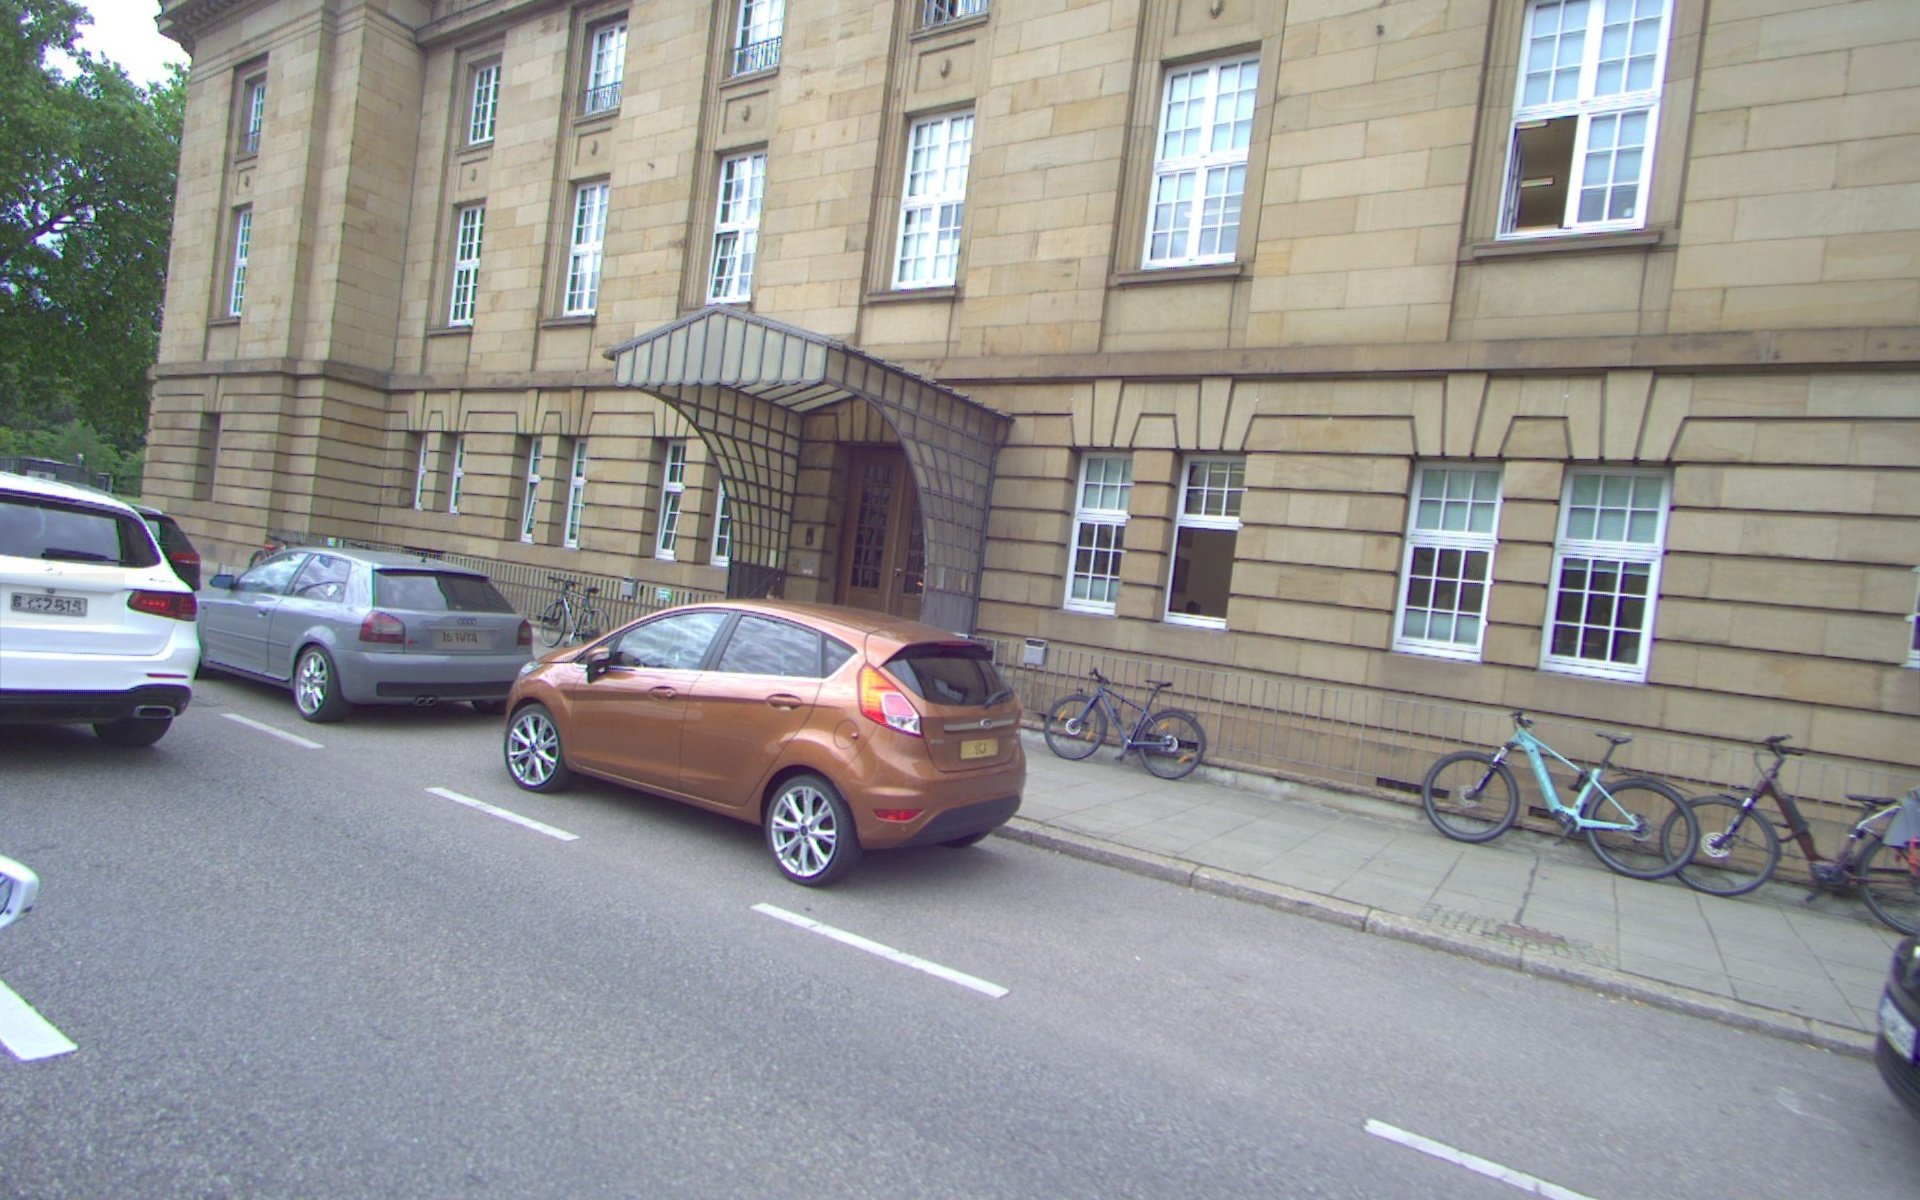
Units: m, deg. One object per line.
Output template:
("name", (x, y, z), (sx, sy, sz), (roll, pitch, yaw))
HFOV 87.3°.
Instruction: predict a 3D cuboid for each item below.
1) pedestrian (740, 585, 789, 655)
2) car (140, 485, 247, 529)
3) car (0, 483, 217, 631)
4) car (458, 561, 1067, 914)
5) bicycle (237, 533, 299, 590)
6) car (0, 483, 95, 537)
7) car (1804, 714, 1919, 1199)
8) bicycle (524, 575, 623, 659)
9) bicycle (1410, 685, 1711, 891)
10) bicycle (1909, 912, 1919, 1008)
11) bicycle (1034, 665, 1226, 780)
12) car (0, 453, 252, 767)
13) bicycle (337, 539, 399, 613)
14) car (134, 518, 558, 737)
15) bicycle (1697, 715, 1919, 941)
("pedestrian", (-2.674, 0.272, 13.768), (0.367, 0.883, 0.430), (6, -2, 34))
("car", (-60.083, -7.260, 78.945), (2.363, 2.287, 6.112), (7, -1, 35))
("car", (-11.754, -0.645, 13.037), (4.253, 1.503, 1.792), (7, -1, 30))
("car", (-1.417, 0.693, 6.690), (3.795, 1.473, 1.617), (7, 1, 32))
("bicycle", (-14.123, -0.798, 20.510), (1.931, 1.010, 0.240), (7, 0, 33))
("car", (-34.832, -3.434, 37.256), (1.652, 1.587, 3.841), (7, -1, 33))
("car", (4.841, 1.407, 2.697), (3.649, 1.571, 1.546), (7, 1, 34))
("bicycle", (-5.804, 0.232, 15.043), (1.829, 1.041, 0.222), (7, -1, 33))
("bicycle", (4.736, 1.433, 8.053), (1.884, 1.232, 0.556), (7, 0, 33))
("bicycle", (5.665, 1.572, 4.574), (1.801, 1.171, 0.460), (7, 0, 32))
("bicycle", (1.660, 1.198, 10.059), (1.848, 0.854, 0.306), (6, -2, 34))
("car", (-6.829, -0.143, 6.497), (4.360, 1.644, 1.792), (7, -1, 28))
("bicycle", (-10.708, -0.441, 18.172), (1.514, 1.198, 0.276), (7, 1, 35))
("car", (-5.786, 0.181, 9.367), (3.930, 1.444, 1.710), (7, 1, 32))
("bicycle", (6.267, 1.585, 6.932), (1.761, 1.304, 0.412), (7, 0, 33))
